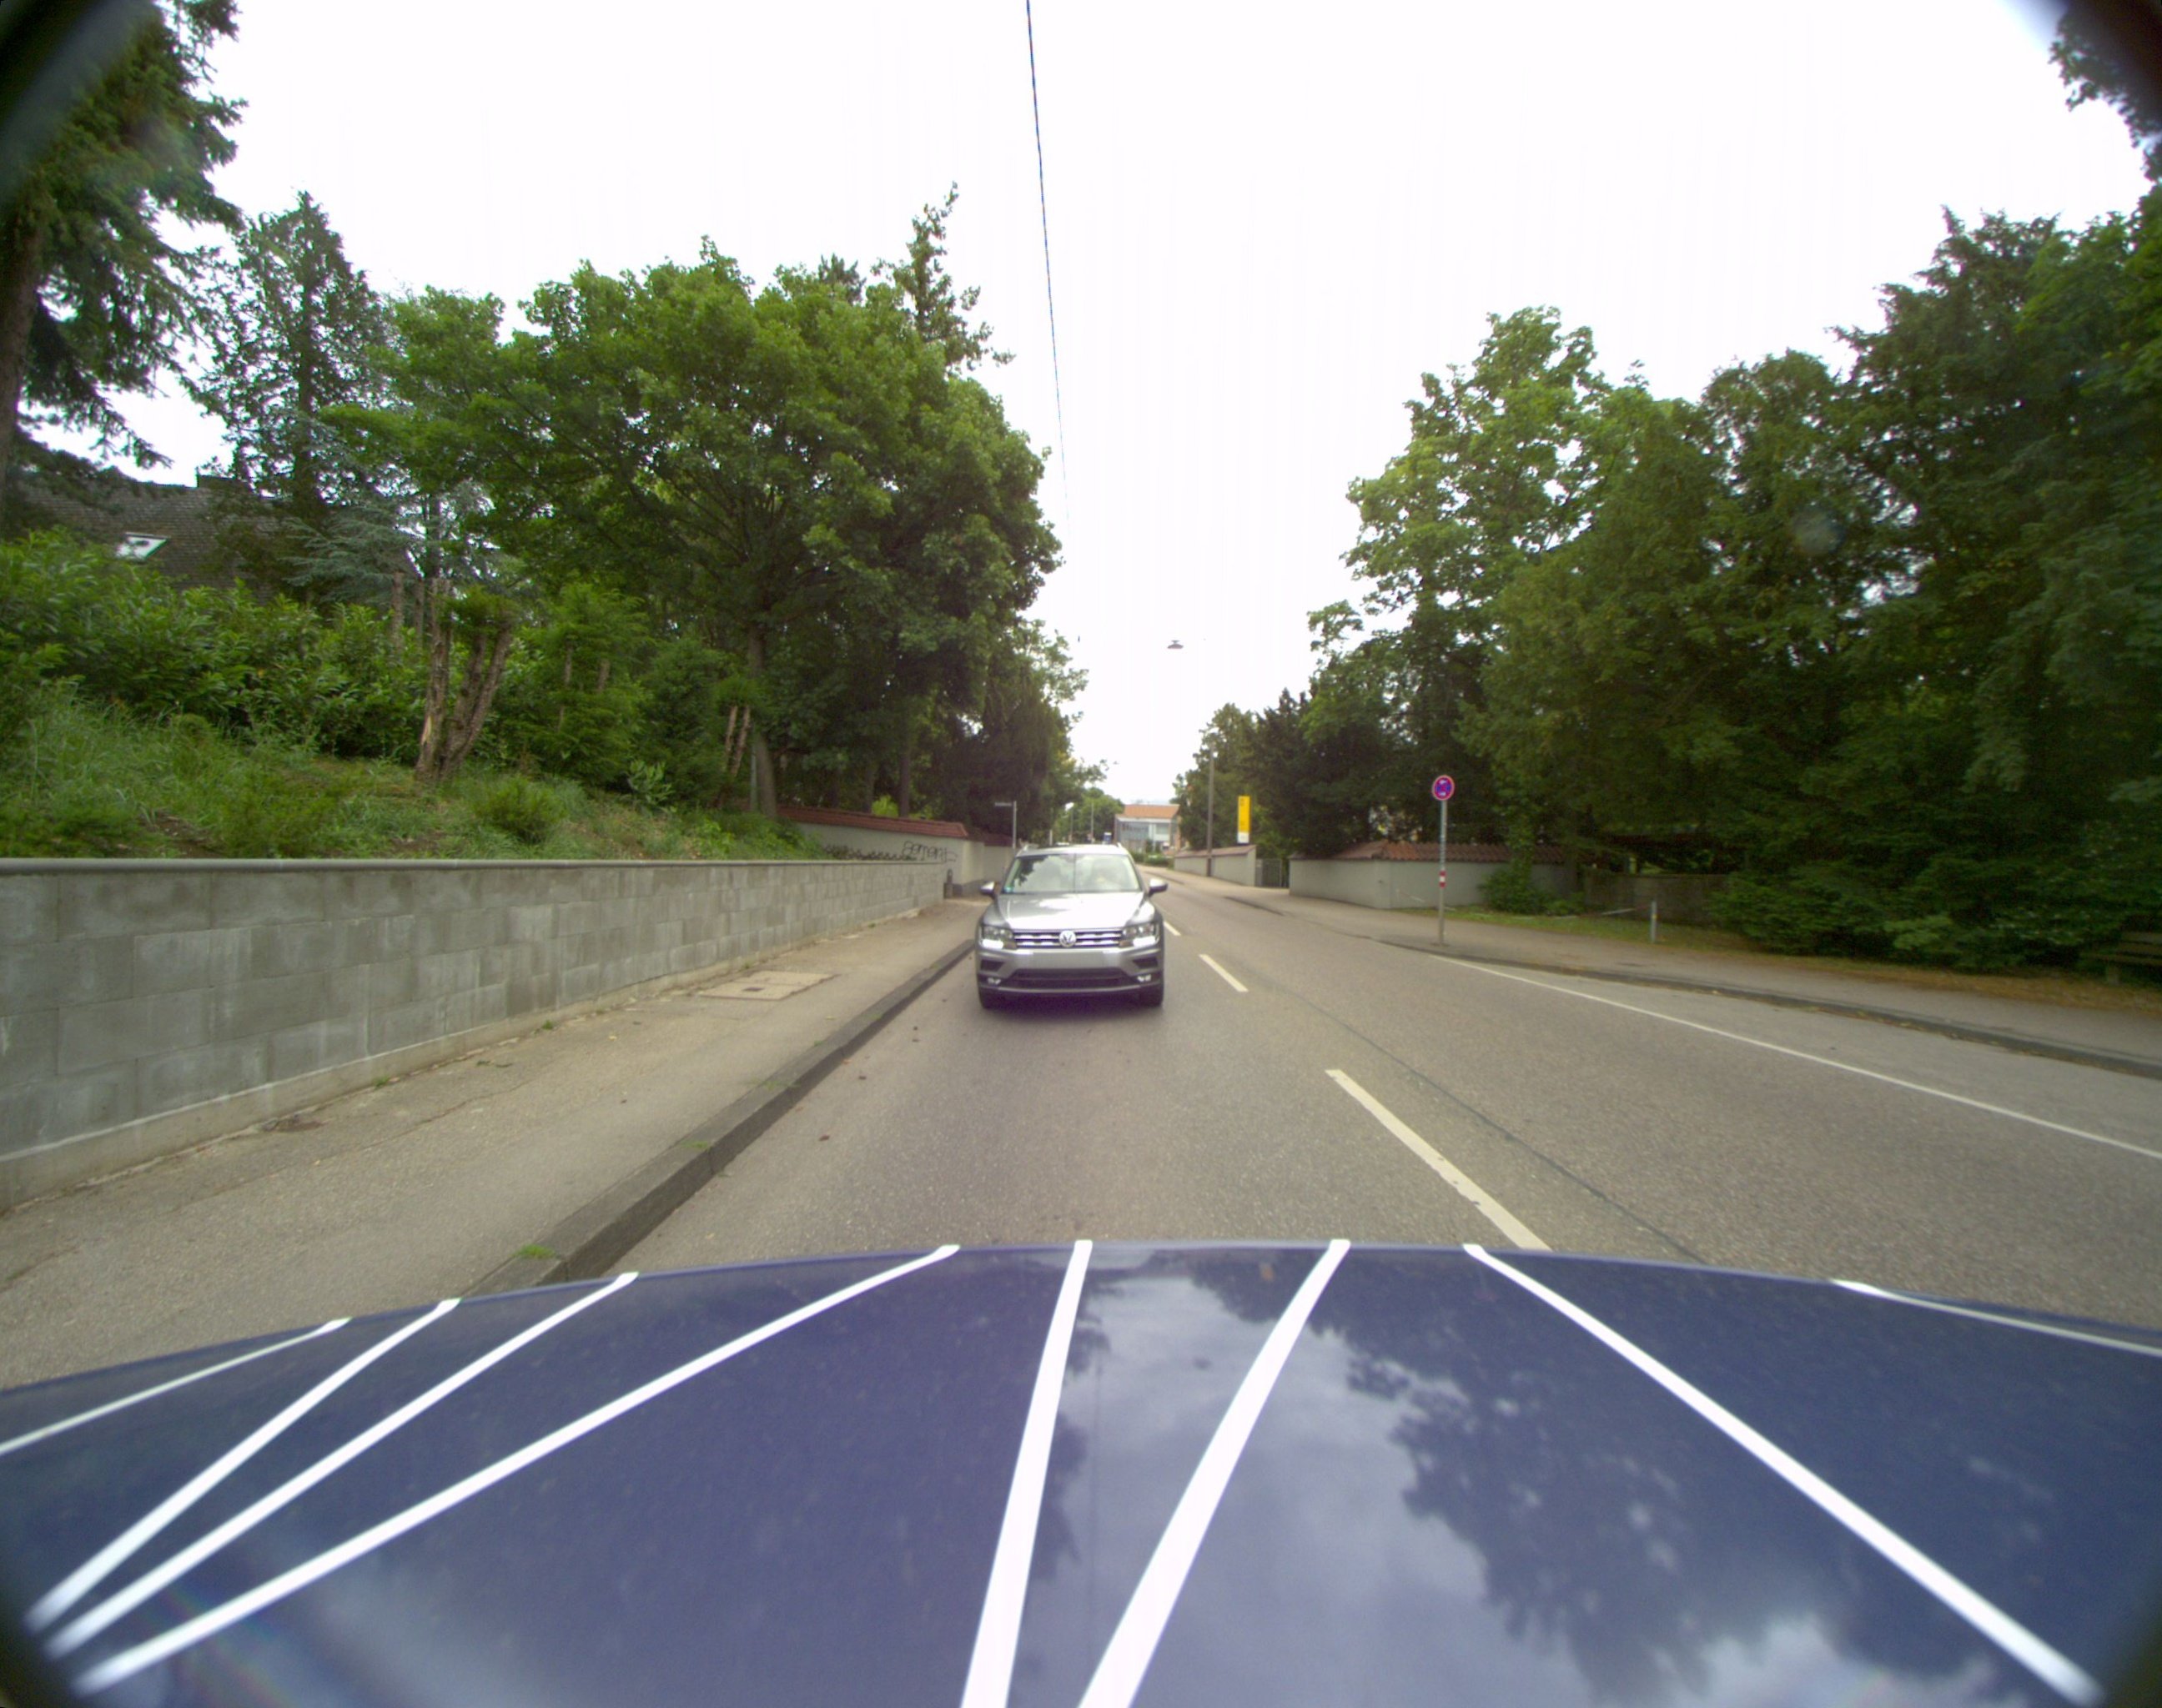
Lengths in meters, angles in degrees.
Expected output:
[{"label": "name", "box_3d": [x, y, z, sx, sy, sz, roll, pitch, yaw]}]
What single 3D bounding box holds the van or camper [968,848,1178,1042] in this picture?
[{"label": "van or camper", "box_3d": [-0.042, 0.775, 8.638, 1.800, 1.663, 4.198, 0, 0, 1]}]
